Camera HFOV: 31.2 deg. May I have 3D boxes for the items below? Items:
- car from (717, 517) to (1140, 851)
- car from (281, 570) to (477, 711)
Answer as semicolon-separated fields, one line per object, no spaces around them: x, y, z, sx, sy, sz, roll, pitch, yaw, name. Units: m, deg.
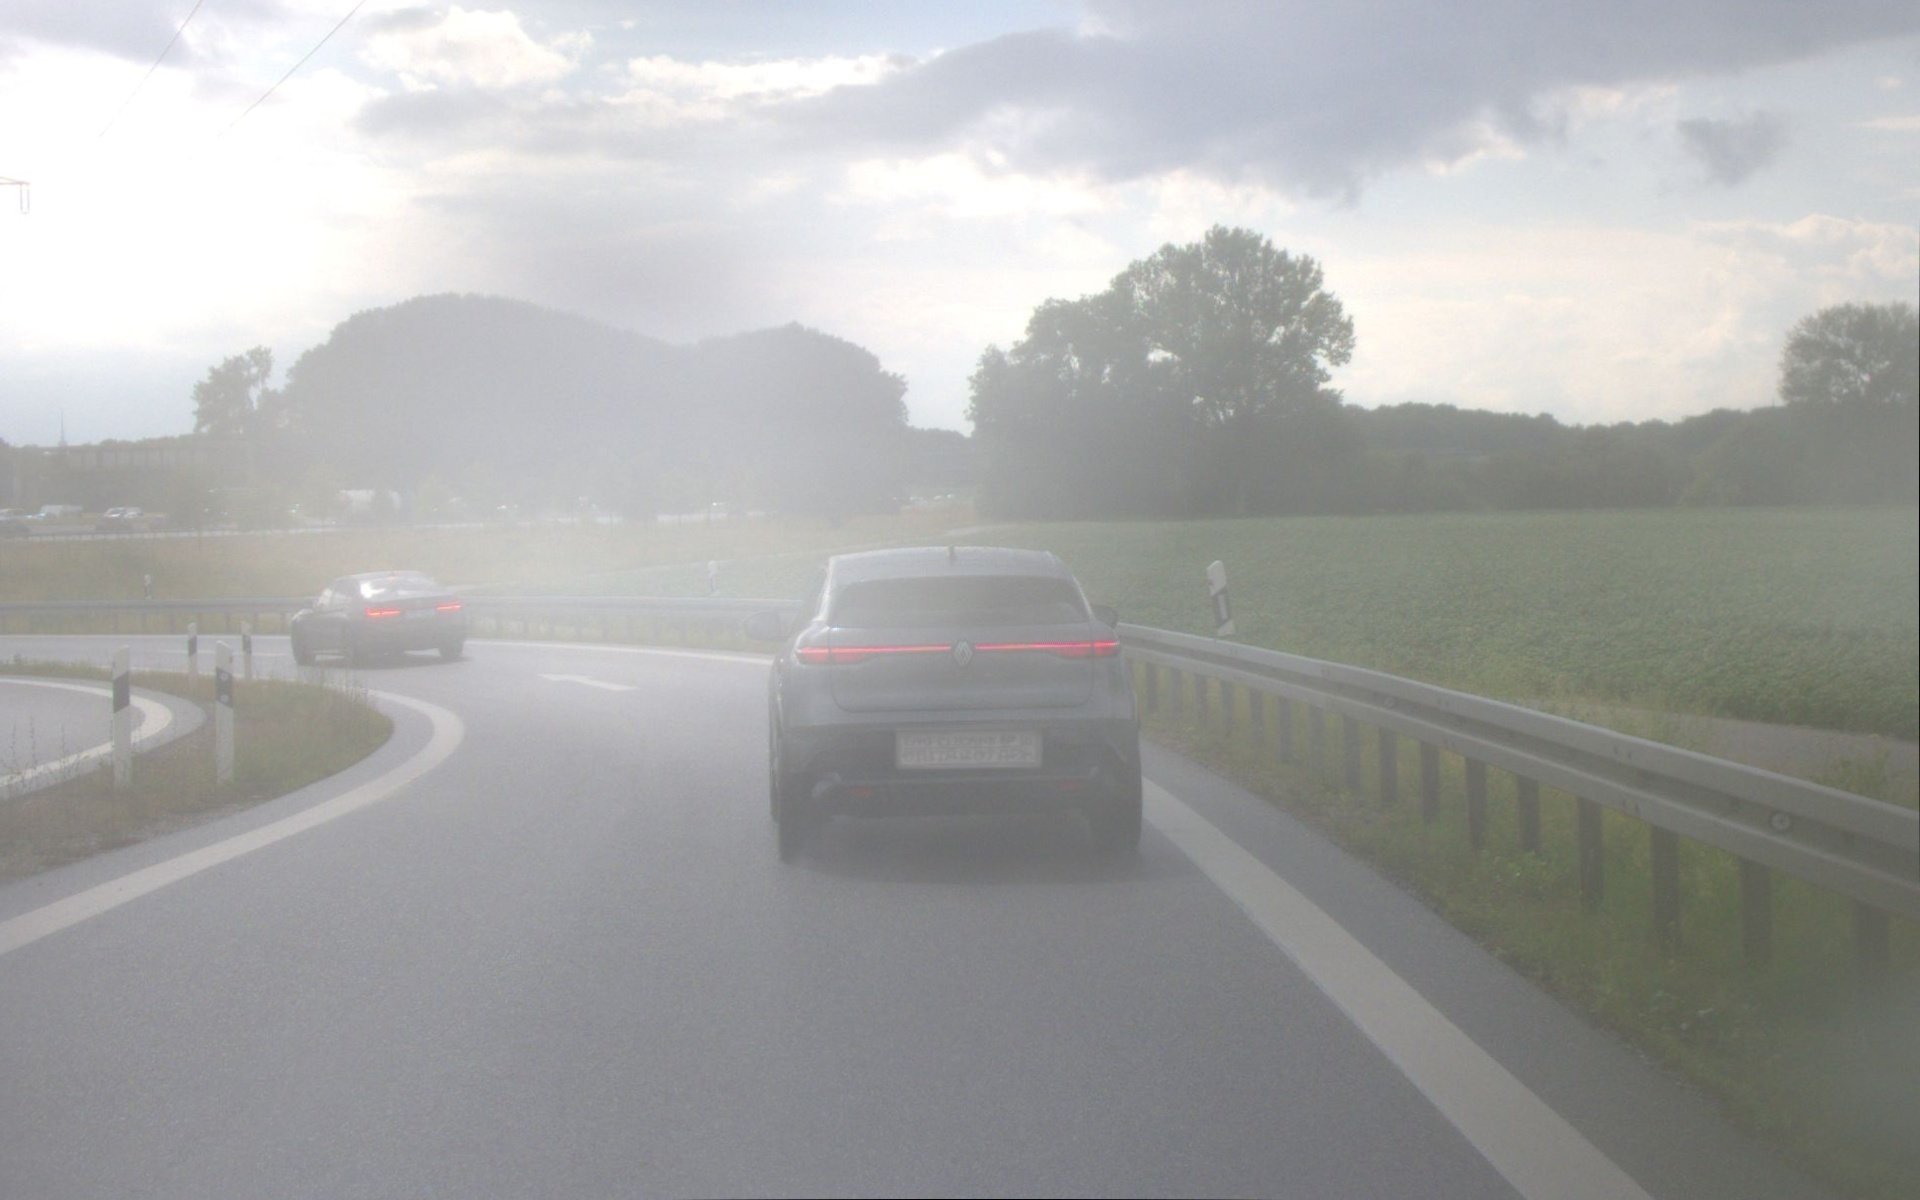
-0.208;0.348;18.343;1.993;1.561;4.149;0;2;-2;car
-9.922;0.634;58.356;2.120;2.011;5.536;-2;3;-22;car
